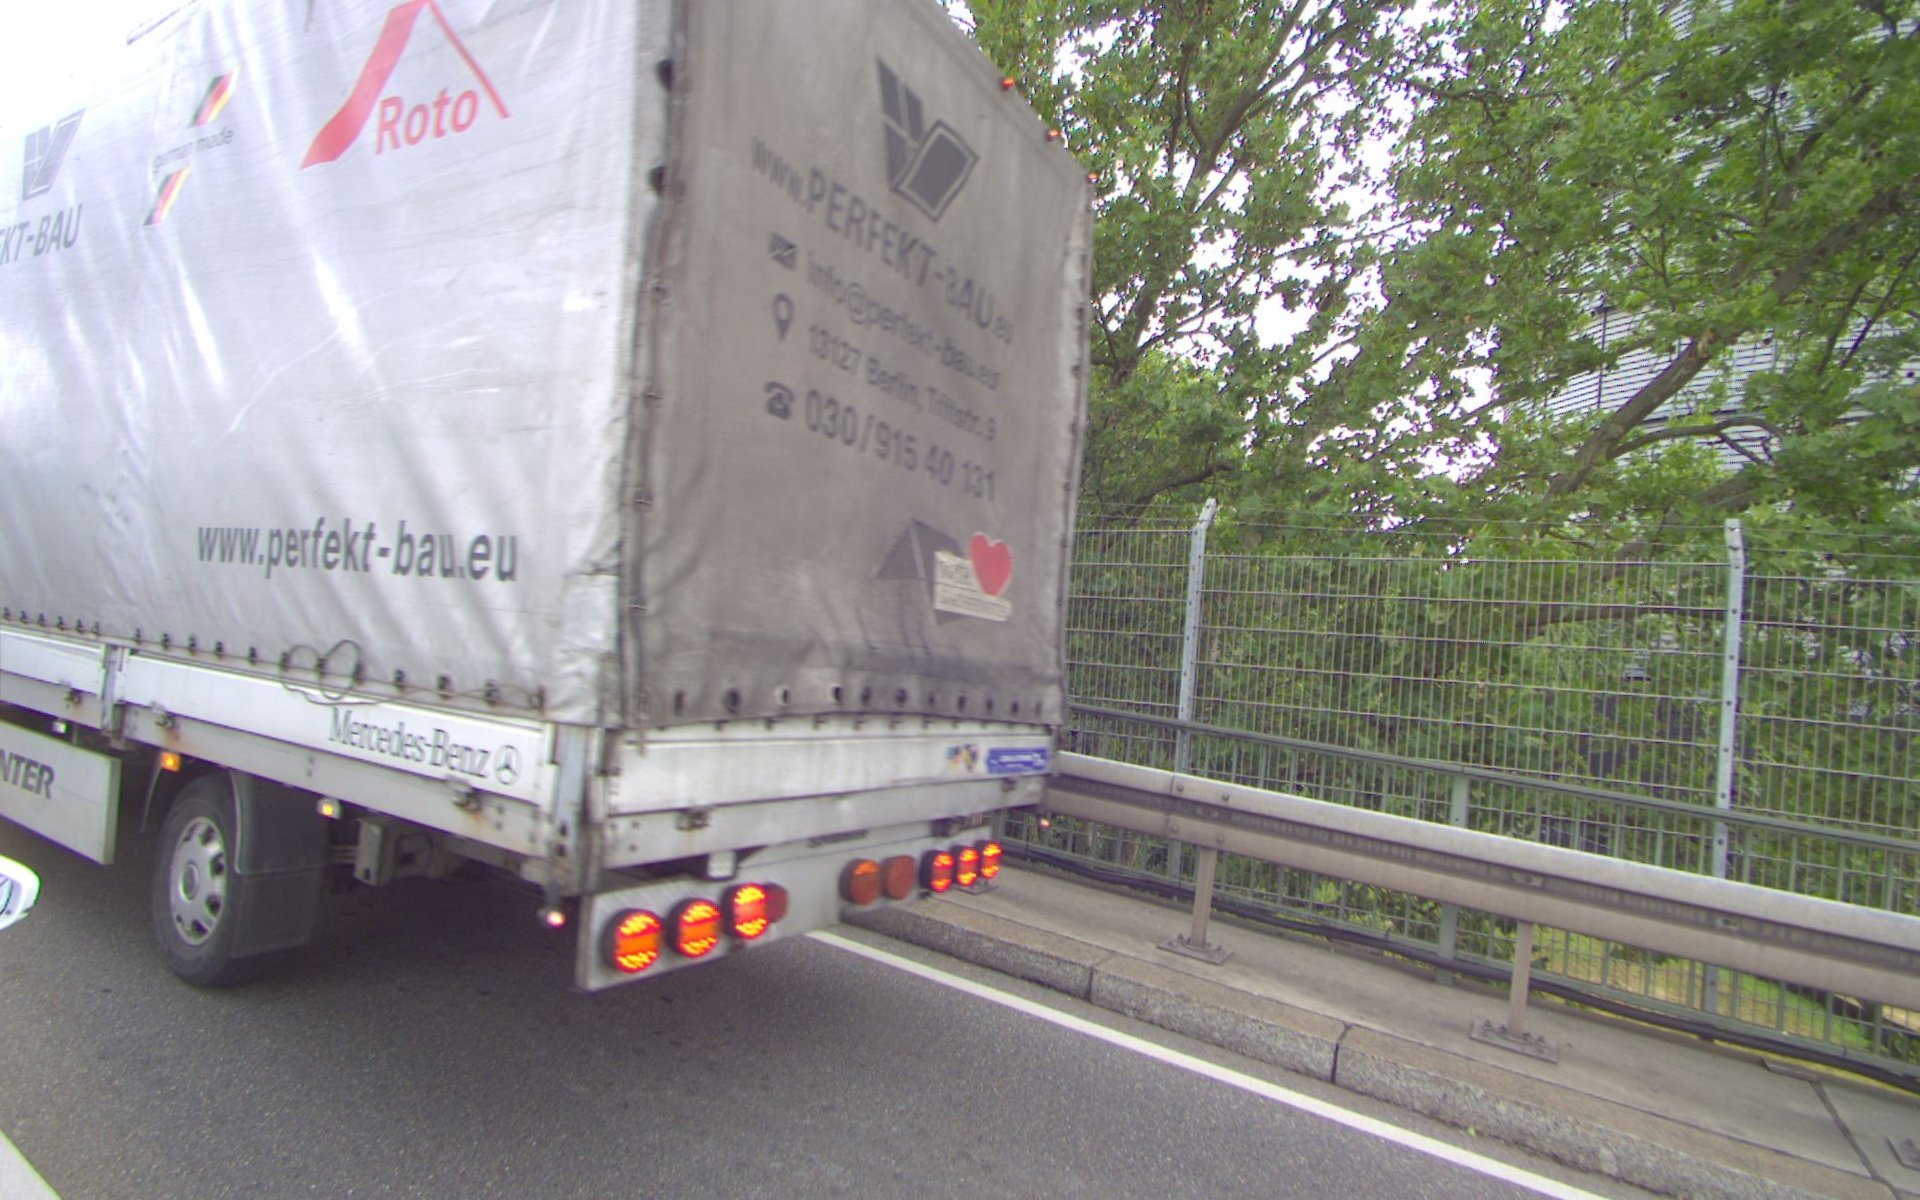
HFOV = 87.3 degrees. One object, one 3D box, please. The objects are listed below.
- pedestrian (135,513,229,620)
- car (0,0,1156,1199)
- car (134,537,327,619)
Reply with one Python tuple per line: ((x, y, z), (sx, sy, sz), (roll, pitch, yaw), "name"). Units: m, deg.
((-13.245, -0.561, 17.140), (0.963, 1.698, 0.834), (4, -2, 29), "pedestrian")
((-3.002, -0.401, 4.877), (6.974, 3.369, 2.663), (6, -1, 32), "car")
((-20.066, -0.588, 27.908), (3.956, 1.684, 1.800), (8, -1, -29), "car")
